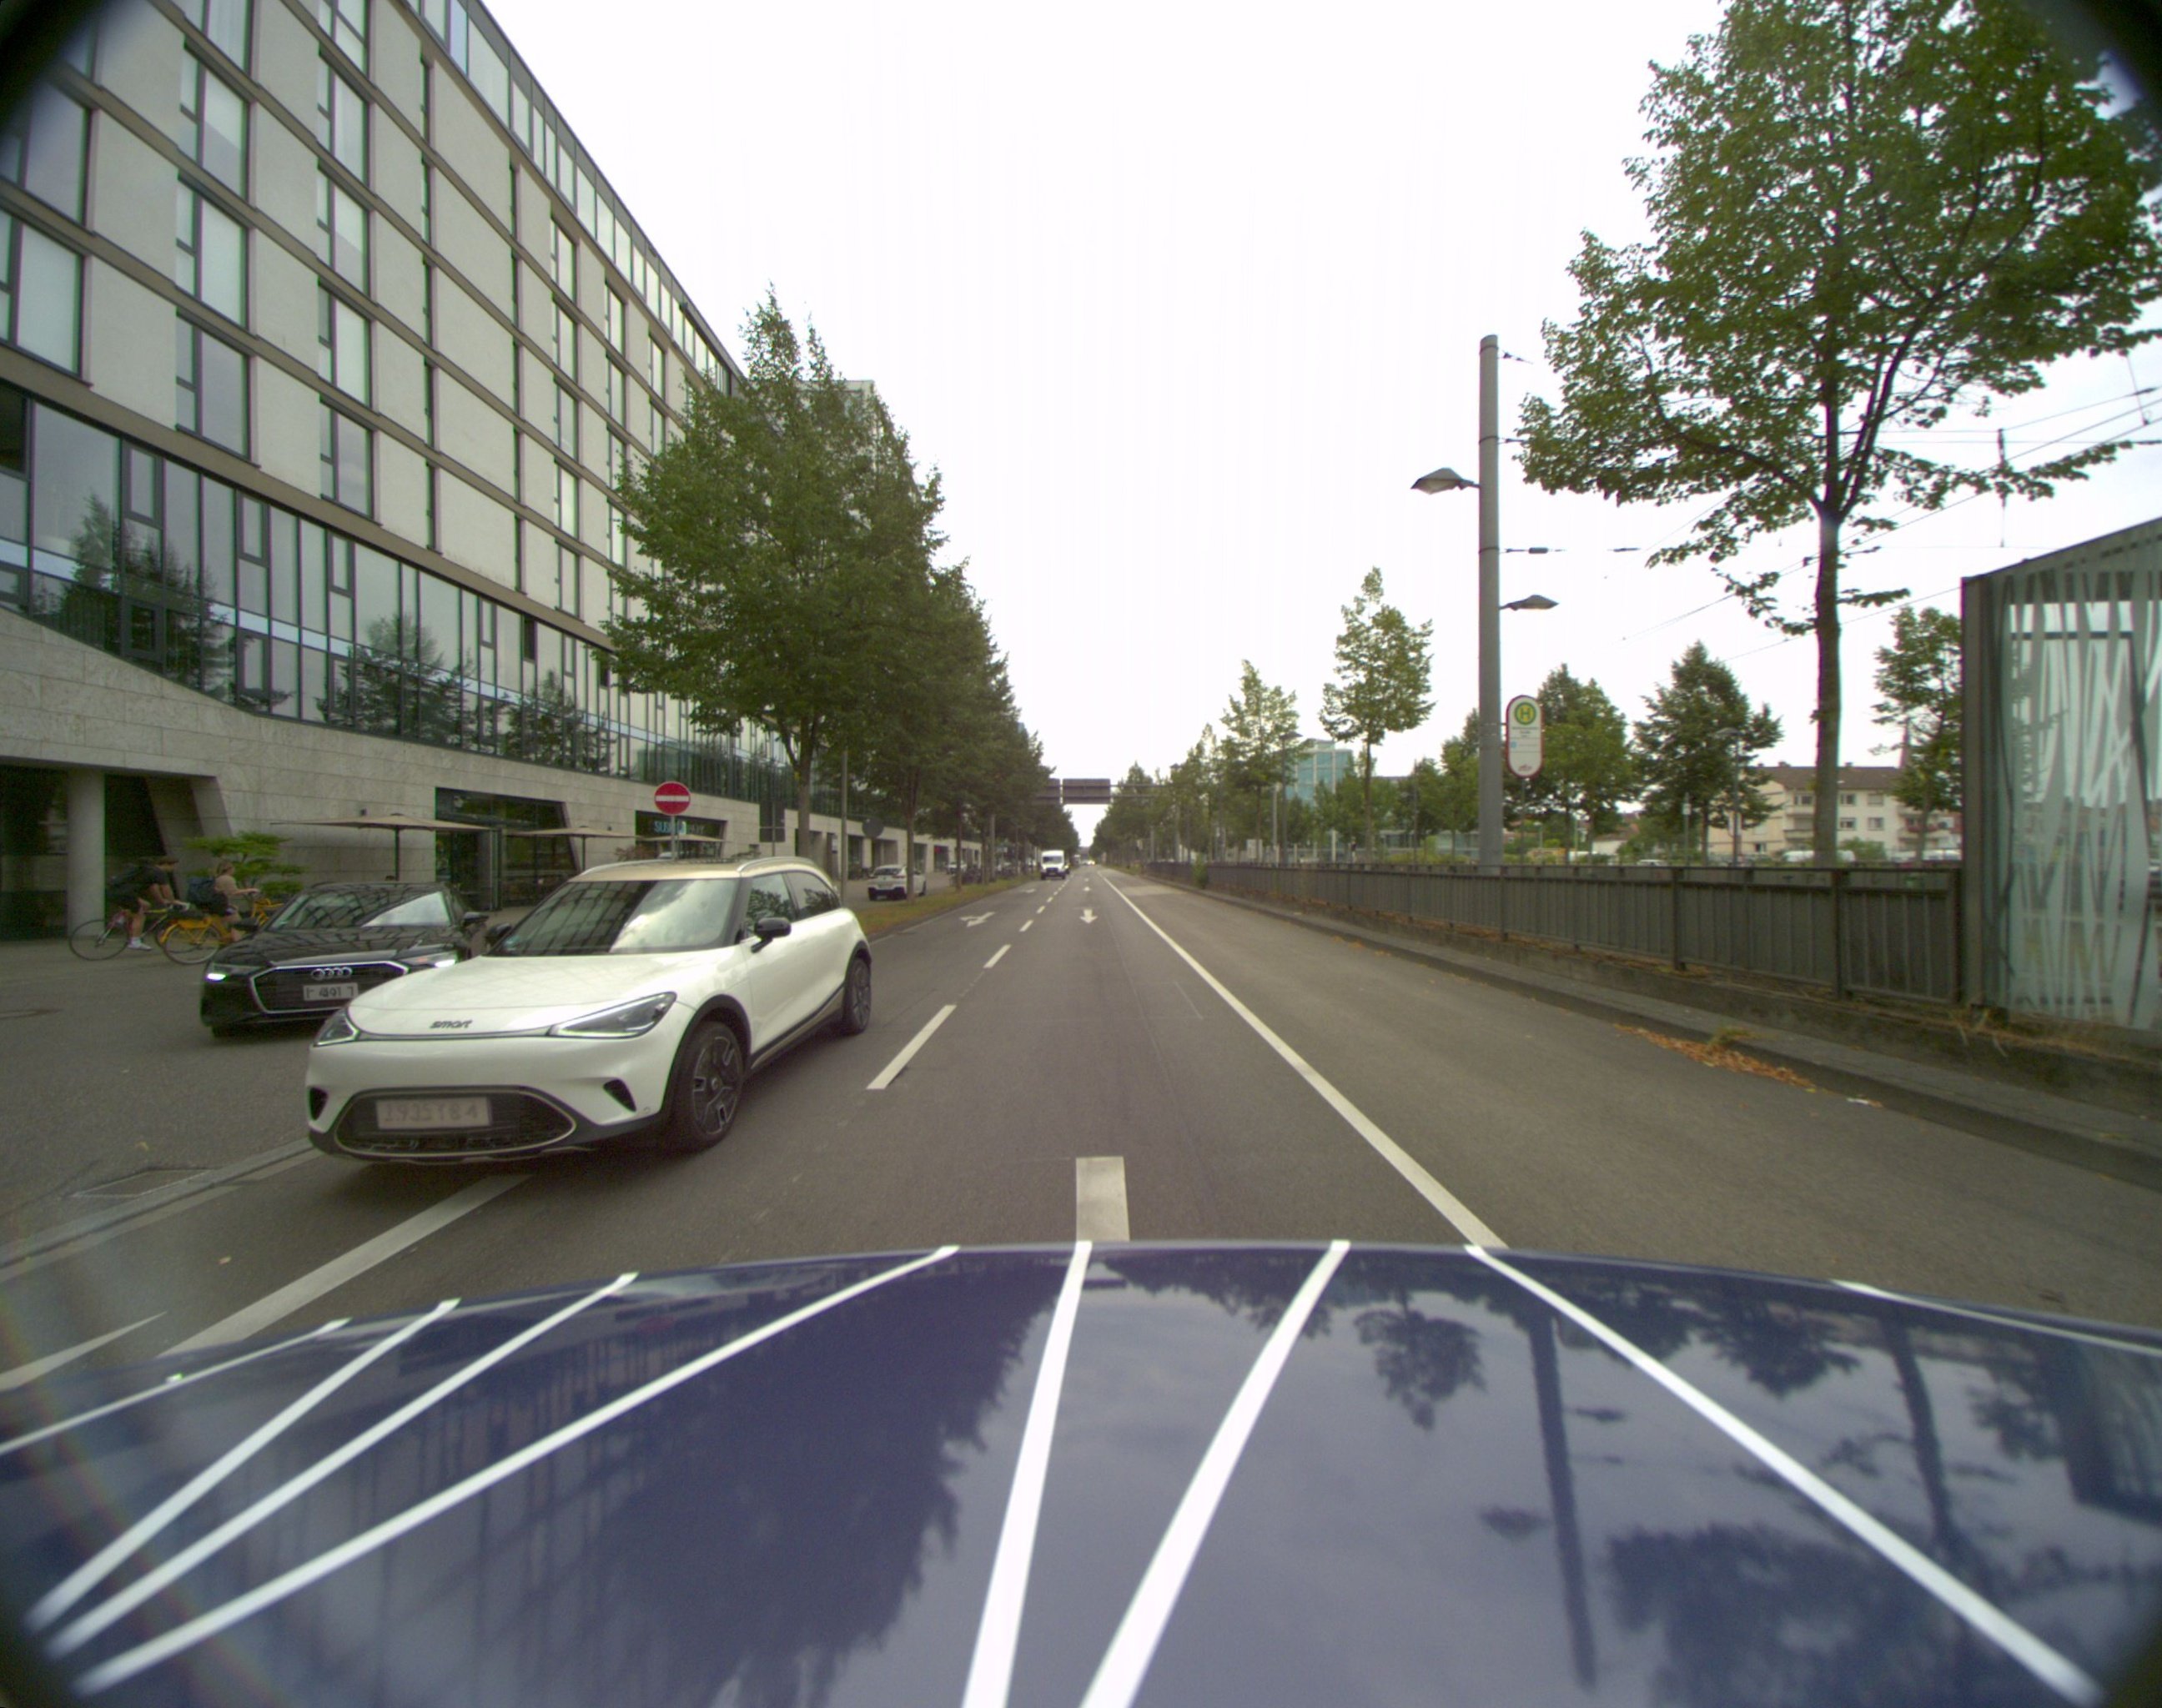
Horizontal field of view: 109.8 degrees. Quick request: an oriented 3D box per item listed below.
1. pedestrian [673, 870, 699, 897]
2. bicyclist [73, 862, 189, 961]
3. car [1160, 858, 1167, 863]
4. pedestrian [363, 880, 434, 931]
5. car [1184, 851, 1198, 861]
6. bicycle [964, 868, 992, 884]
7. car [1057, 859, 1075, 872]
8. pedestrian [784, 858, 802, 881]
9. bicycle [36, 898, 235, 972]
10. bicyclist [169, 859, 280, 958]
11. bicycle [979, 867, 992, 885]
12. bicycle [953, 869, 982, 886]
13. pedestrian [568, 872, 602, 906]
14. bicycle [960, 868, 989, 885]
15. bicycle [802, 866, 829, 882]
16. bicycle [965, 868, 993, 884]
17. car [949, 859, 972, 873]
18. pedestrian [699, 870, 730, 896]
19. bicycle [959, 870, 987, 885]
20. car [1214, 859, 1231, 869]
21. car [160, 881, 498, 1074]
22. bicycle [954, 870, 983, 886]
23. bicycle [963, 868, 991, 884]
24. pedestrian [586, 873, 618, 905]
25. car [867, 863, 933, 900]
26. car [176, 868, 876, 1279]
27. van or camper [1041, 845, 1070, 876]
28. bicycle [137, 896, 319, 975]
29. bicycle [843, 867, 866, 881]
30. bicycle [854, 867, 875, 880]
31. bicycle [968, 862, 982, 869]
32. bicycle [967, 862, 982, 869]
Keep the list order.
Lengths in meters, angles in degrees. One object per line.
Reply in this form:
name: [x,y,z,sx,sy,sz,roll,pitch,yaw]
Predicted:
pedestrian: [-17.893,1.327,34.453,0.719,1.185,0.760,0,0,23]
bicyclist: [-15.933,0.933,12.762,0.725,1.573,0.991,1,1,12]
car: [24.891,2.045,228.346,1.752,1.448,3.865,-1,0,2]
pedestrian: [-17.113,1.271,19.073,0.899,1.221,0.951,0,0,5]
car: [22.473,0.443,155.309,1.998,1.933,5.096,-1,0,0]
bicycle: [-7.549,1.627,55.635,1.936,1.059,0.543,-4,0,-8]
car: [-1.712,1.303,89.284,1.973,1.528,4.140,0,0,1]
pedestrian: [-17.675,0.929,46.637,0.758,1.398,0.721,0,0,8]
bicycle: [-15.925,1.320,12.889,0.674,1.036,2.009,2,0,13]
bicyclist: [-14.339,0.883,12.742,0.726,1.573,0.990,1,1,9]
bicycle: [-6.092,1.405,48.536,0.712,1.109,2.202,-4,0,-7]
bicycle: [-7.645,1.589,51.296,1.865,0.989,0.574,-4,0,-2]
pedestrian: [-18.126,1.272,27.765,0.720,1.185,0.759,0,0,0]
bicycle: [-7.592,1.600,54.145,1.935,1.059,0.705,-4,0,-2]
bicycle: [-17.578,1.322,50.236,1.605,1.020,0.609,0,0,-27]
bicycle: [-7.533,1.626,56.215,1.936,1.059,0.543,-4,0,-8]
car: [-14.124,1.369,89.166,1.862,1.579,4.240,2,0,1]
pedestrian: [-17.236,1.371,35.773,0.773,1.185,1.107,0,0,16]
bicycle: [-7.607,1.653,53.453,1.865,0.945,0.612,-4,0,-2]
car: [24.011,1.698,128.863,1.832,1.646,4.691,0,0,-1]
car: [-8.248,1.123,8.911,1.951,1.467,4.858,0,0,-34]
bicycle: [-7.661,1.659,51.963,1.865,0.945,0.501,-4,0,-2]
bicycle: [-7.511,1.595,54.904,1.935,1.059,0.641,-4,0,-2]
pedestrian: [-18.107,1.319,28.742,0.720,1.185,0.759,0,0,2]
car: [-8.205,1.212,34.928,1.943,1.543,4.593,-1,-1,0]
car: [-2.910,0.976,5.250,1.783,1.646,4.024,-2,0,1]
van or camper: [-2.147,0.541,65.475,2.184,2.493,6.339,-2,0,0]
bicycle: [-14.342,1.324,12.878,0.674,1.136,2.009,0,0,9]
bicycle: [-17.151,1.541,57.635,1.602,1.020,0.533,0,0,-3]
bicycle: [-17.464,1.554,61.337,1.533,1.020,0.533,0,0,-3]
bicycle: [-17.522,1.855,125.261,2.238,1.170,0.976,0,0,-7]
bicycle: [-17.717,1.859,126.488,2.426,1.170,1.202,0,0,-7]
